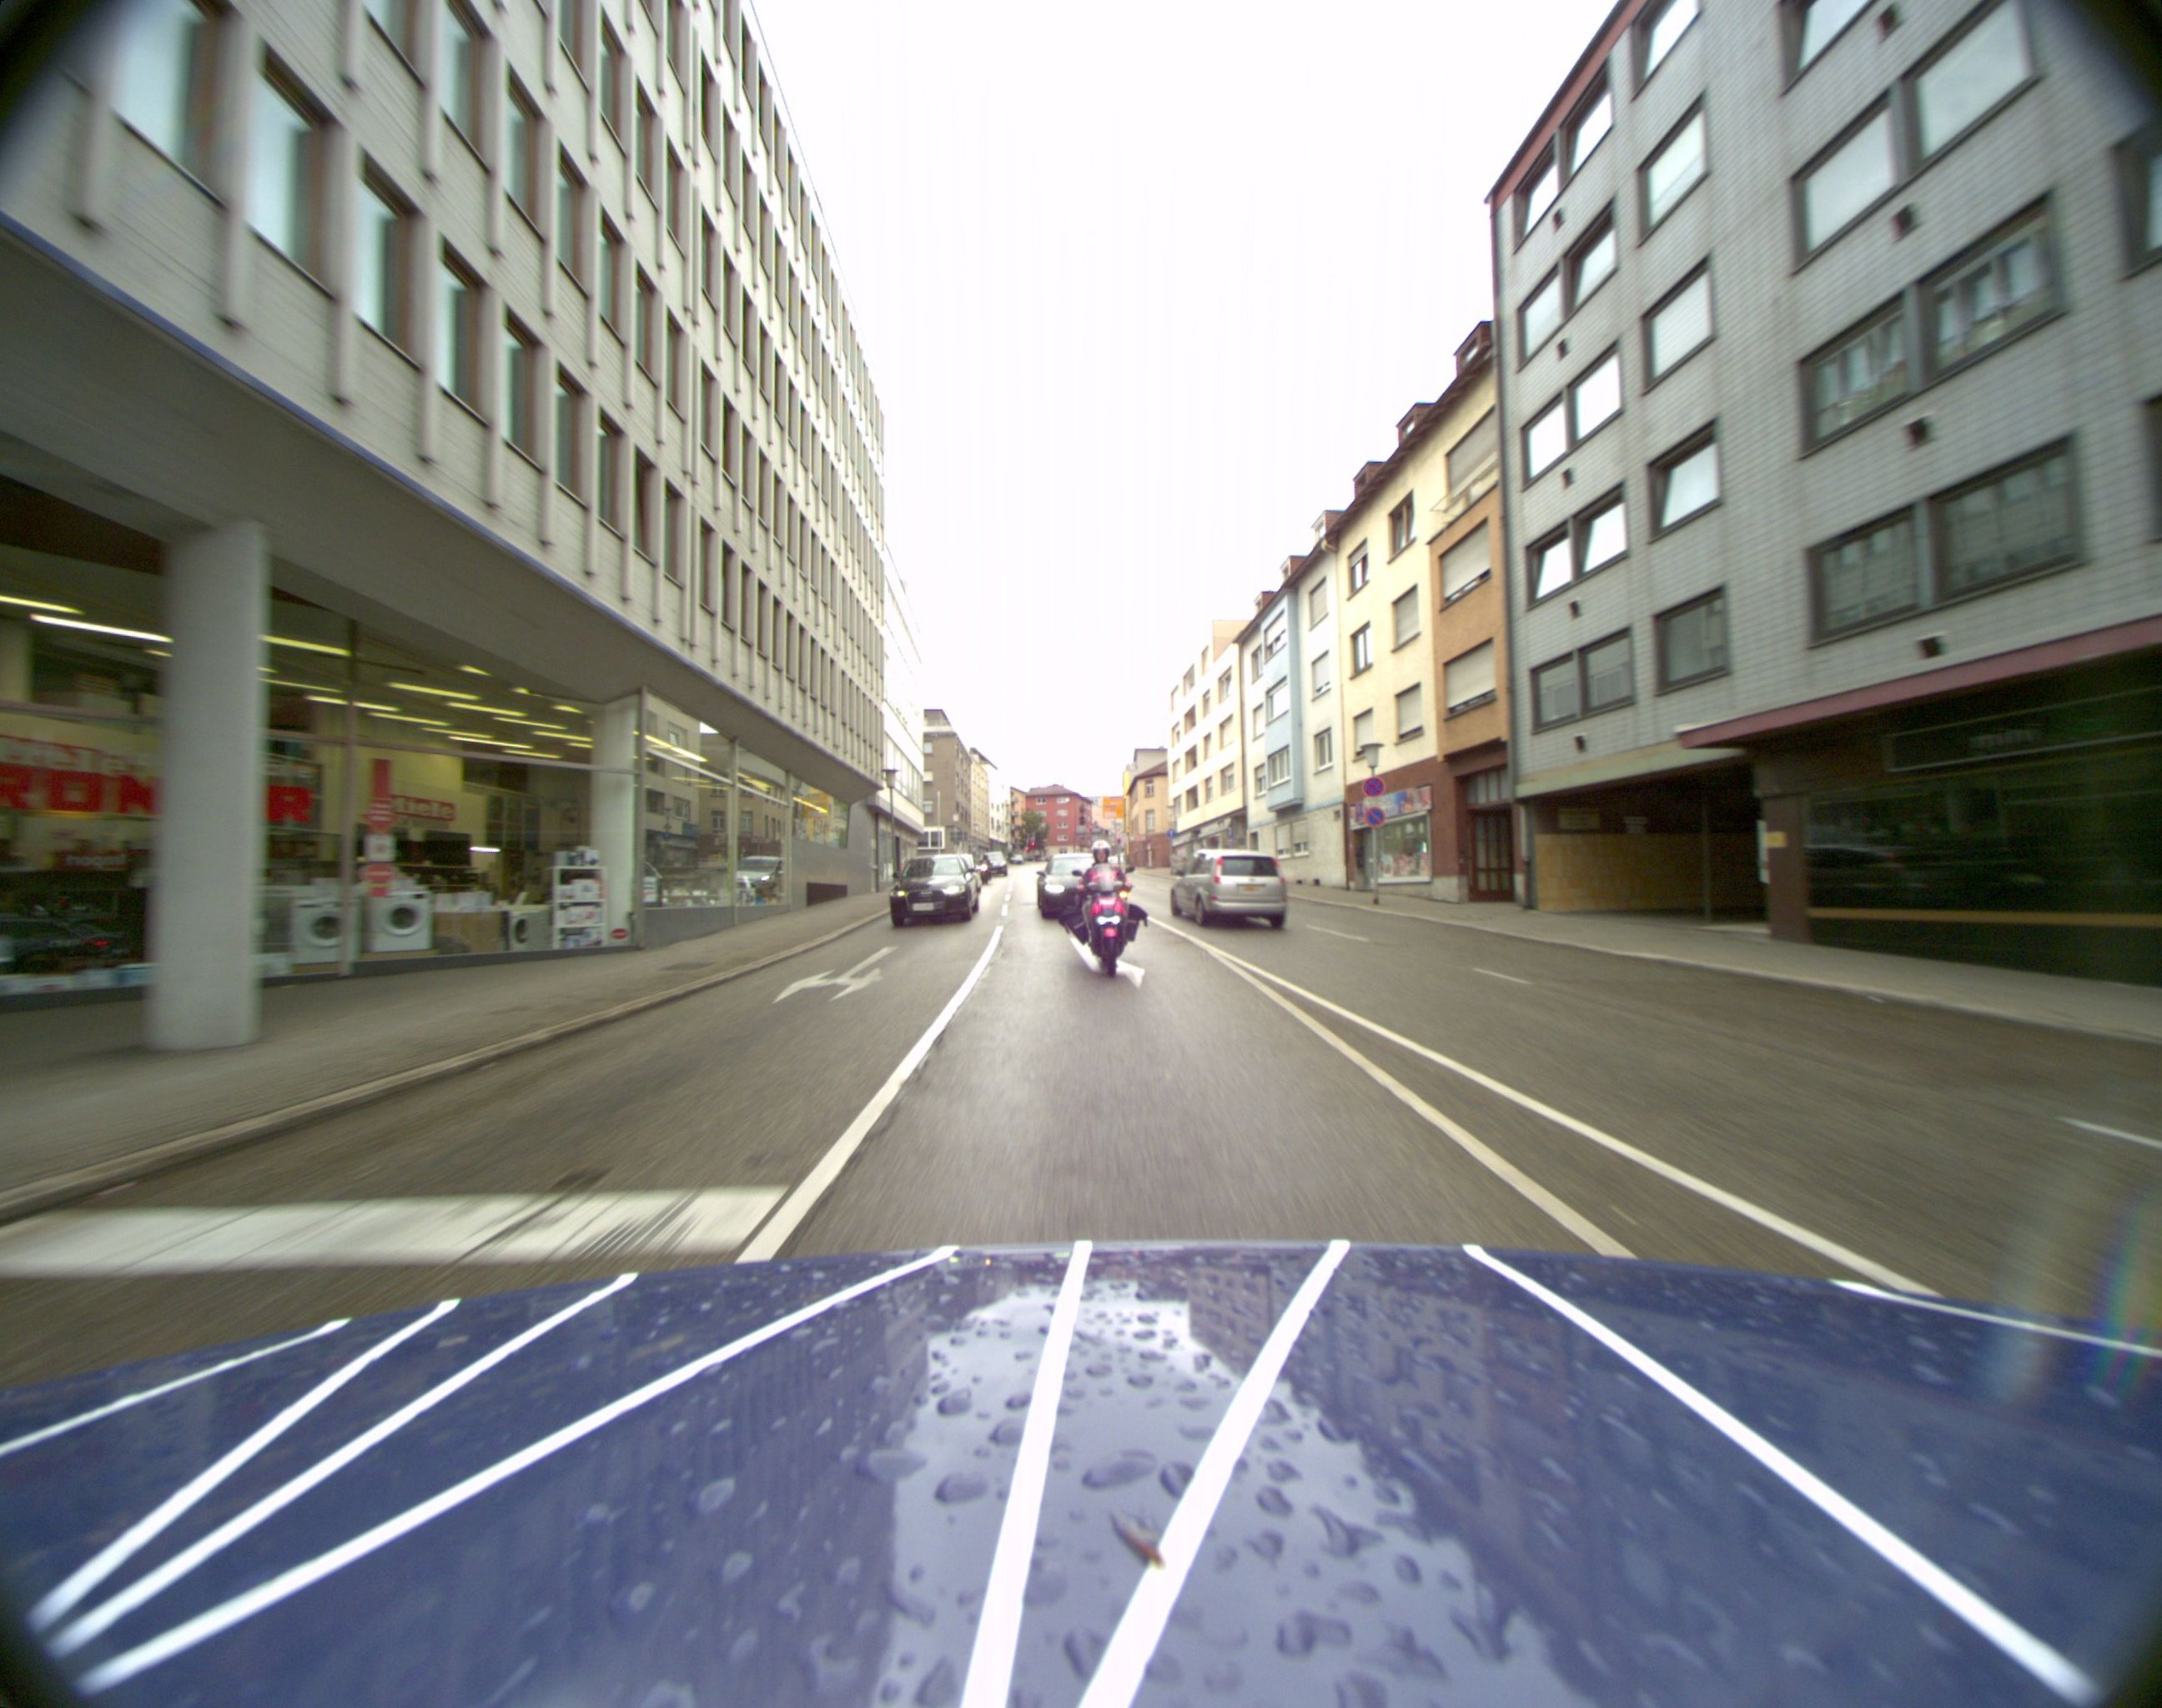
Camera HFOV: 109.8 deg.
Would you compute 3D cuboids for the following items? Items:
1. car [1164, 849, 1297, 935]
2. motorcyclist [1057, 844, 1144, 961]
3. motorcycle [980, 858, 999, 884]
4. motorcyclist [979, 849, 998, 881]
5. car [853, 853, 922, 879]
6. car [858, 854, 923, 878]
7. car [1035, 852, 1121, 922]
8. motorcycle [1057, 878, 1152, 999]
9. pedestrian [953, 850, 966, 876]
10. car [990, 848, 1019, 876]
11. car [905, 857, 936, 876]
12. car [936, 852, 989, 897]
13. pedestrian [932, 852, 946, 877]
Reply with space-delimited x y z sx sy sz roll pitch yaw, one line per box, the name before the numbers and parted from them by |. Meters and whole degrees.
car | 3.104 0.726 16.648 1.740 1.583 4.173 2 1 -5
motorcyclist | 0.227 0.582 9.571 1.011 1.373 0.834 -2 1 -2
motorcycle | -4.790 0.859 39.604 0.847 1.219 2.371 -4 1 -9
motorcyclist | -4.803 0.572 39.539 0.847 1.580 0.962 -4 1 -9
car | -12.223 0.739 47.963 4.005 1.441 1.795 3 -1 -21
car | -12.651 0.761 50.512 4.004 1.521 1.760 -1 0 -20
car | -0.201 0.743 19.061 1.706 1.452 4.316 -3 0 -5
motorcycle | 0.222 0.985 9.813 1.010 1.219 2.693 -2 1 -2
pedestrian | -8.070 0.567 50.385 0.786 1.696 1.120 2 1 -7
car | -5.394 0.547 53.131 1.850 1.892 3.762 -1 0 -8
car | -13.187 0.981 62.660 1.793 1.503 4.436 -1 0 -3
car | -4.671 0.767 30.331 1.832 1.532 4.249 -4 0 -7
pedestrian | -9.090 0.666 48.718 0.768 1.542 0.890 2 1 -7
